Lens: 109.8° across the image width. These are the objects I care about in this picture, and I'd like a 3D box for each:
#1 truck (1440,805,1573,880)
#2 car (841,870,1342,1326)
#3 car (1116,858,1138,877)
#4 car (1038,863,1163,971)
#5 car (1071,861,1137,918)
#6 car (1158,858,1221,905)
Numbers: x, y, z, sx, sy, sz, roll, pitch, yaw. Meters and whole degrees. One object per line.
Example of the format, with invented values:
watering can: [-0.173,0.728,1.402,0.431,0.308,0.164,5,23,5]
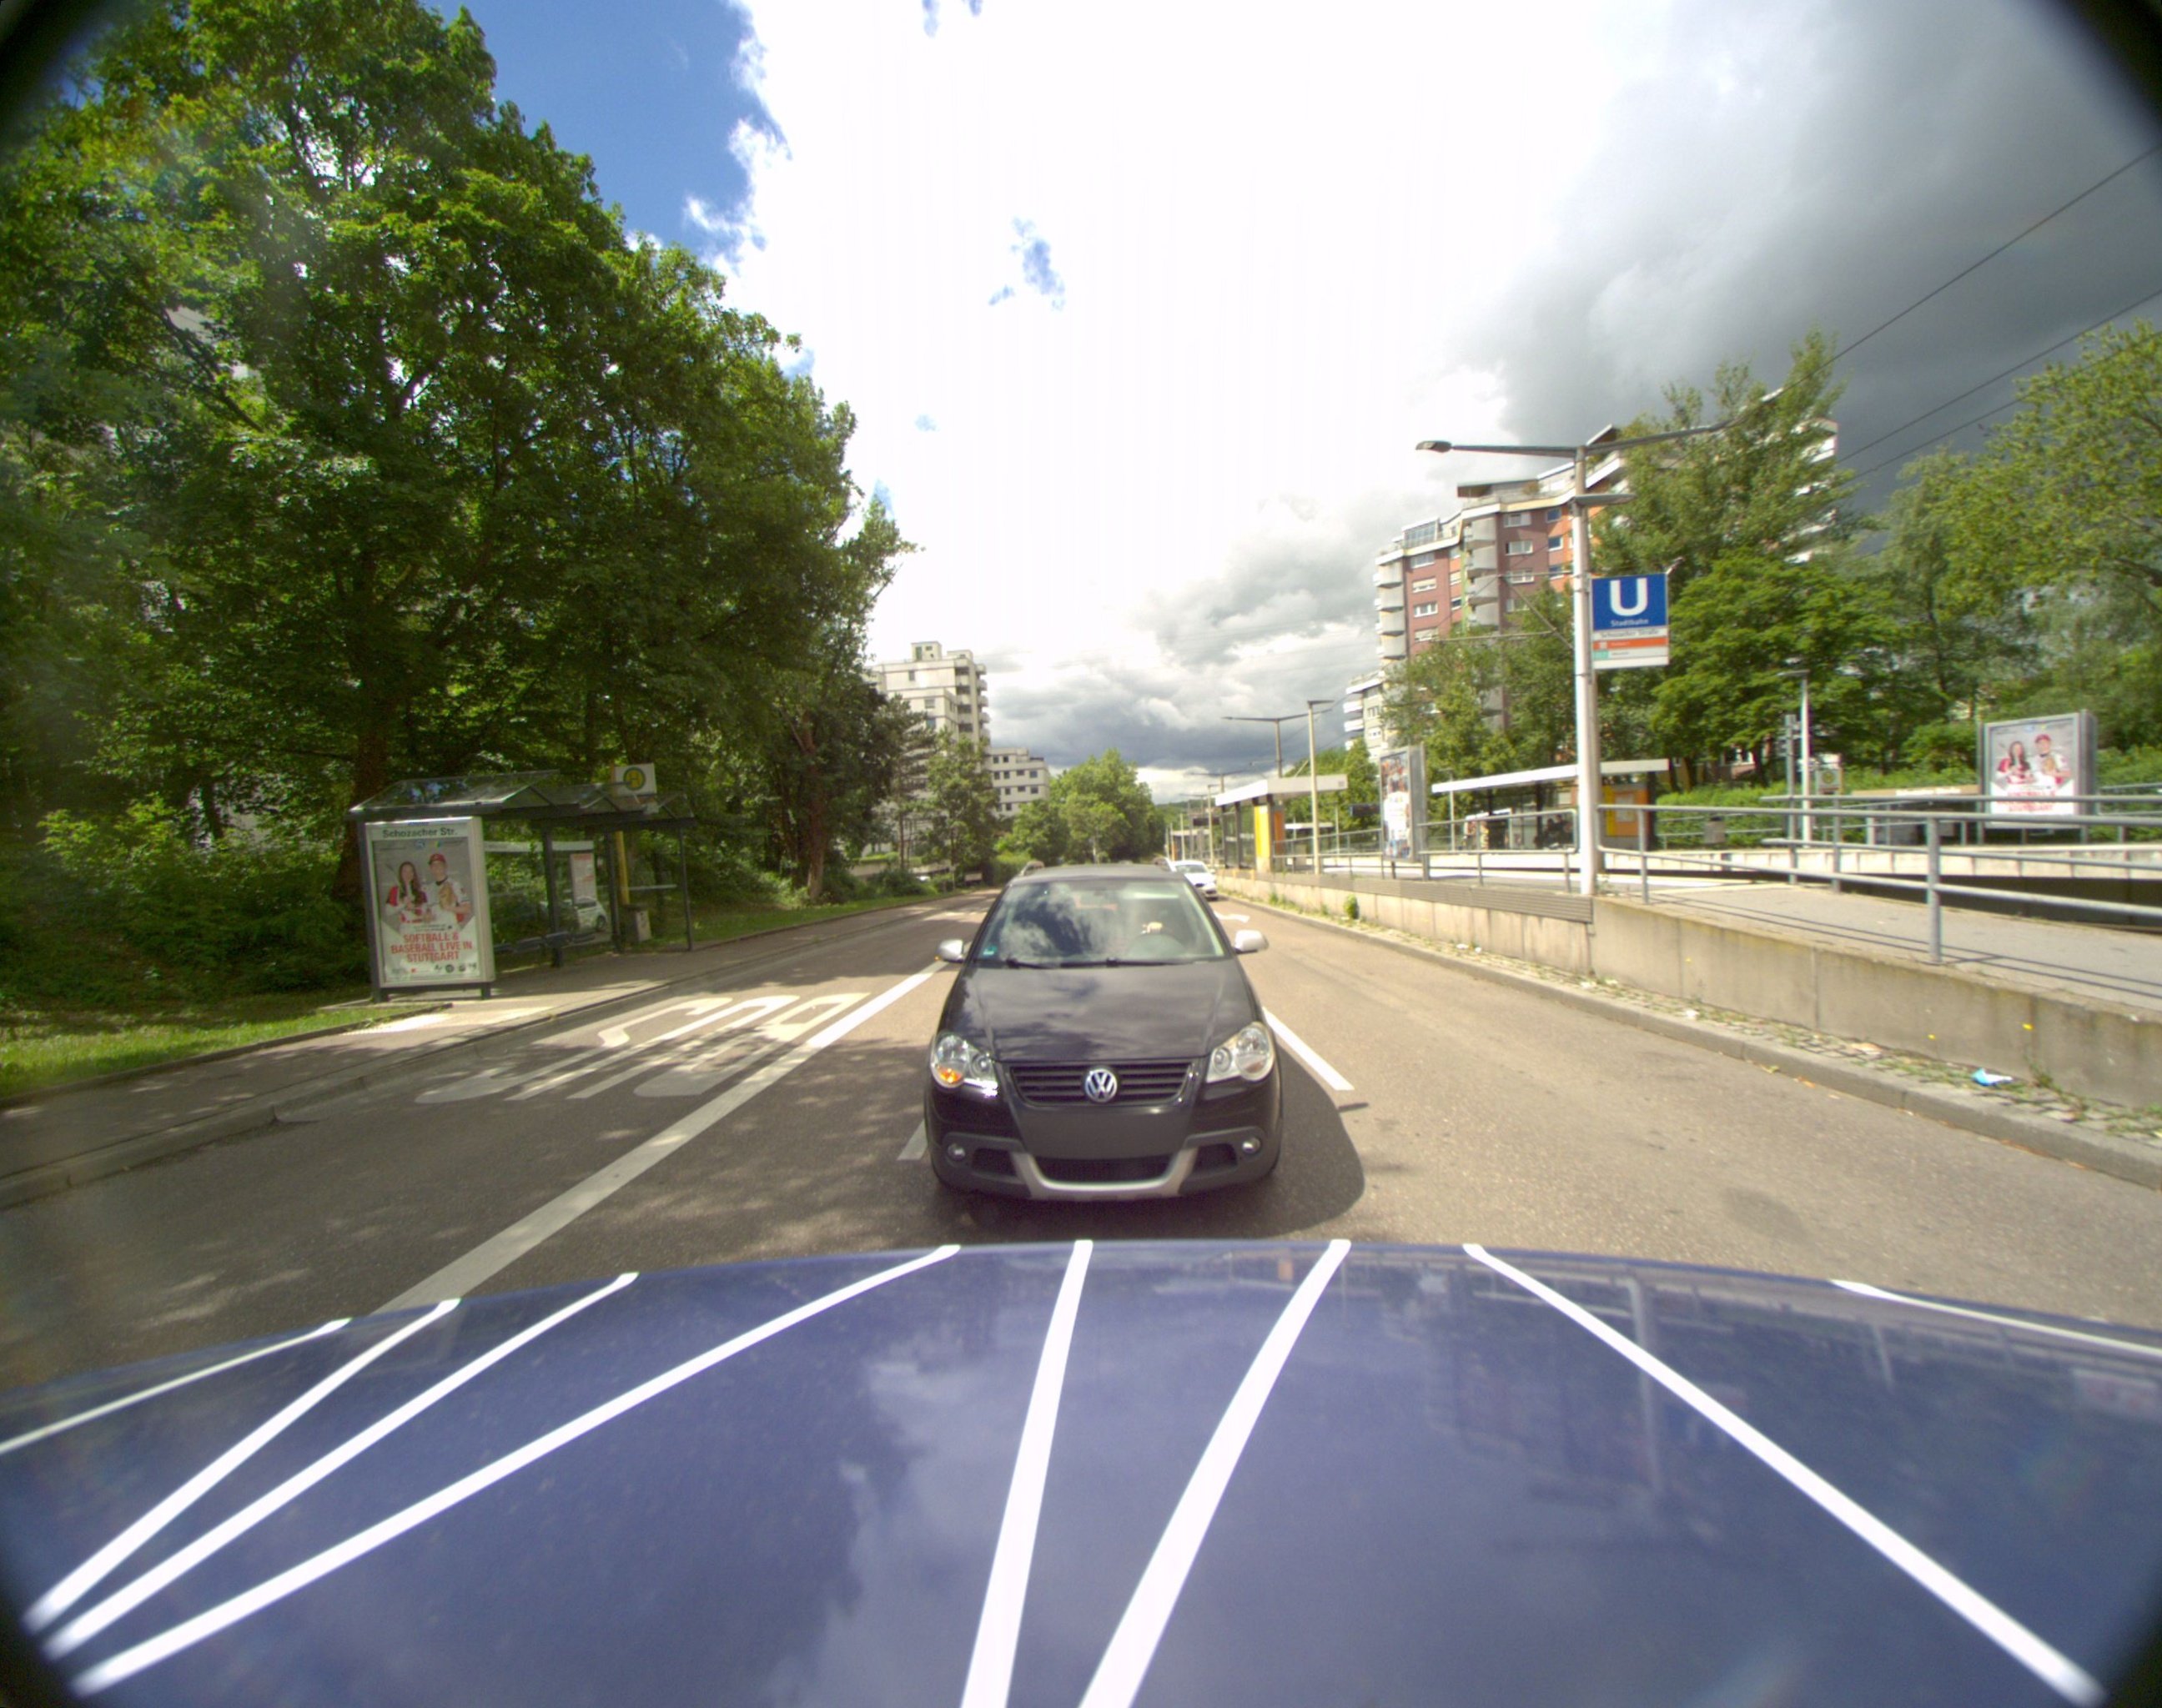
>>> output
truck: [20.413,-0.486,36.996,2.420,3.203,7.263,-2,0,1]
car: [0.074,0.922,4.723,1.732,1.501,4.000,-2,0,1]
car: [4.027,1.159,67.540,1.732,1.505,4.000,-2,1,1]
car: [0.316,0.935,12.943,1.732,1.453,4.000,-2,0,1]
car: [0.728,0.965,22.411,1.732,1.452,4.001,-2,0,3]
car: [3.846,0.951,27.552,1.732,1.453,4.000,-2,0,1]
